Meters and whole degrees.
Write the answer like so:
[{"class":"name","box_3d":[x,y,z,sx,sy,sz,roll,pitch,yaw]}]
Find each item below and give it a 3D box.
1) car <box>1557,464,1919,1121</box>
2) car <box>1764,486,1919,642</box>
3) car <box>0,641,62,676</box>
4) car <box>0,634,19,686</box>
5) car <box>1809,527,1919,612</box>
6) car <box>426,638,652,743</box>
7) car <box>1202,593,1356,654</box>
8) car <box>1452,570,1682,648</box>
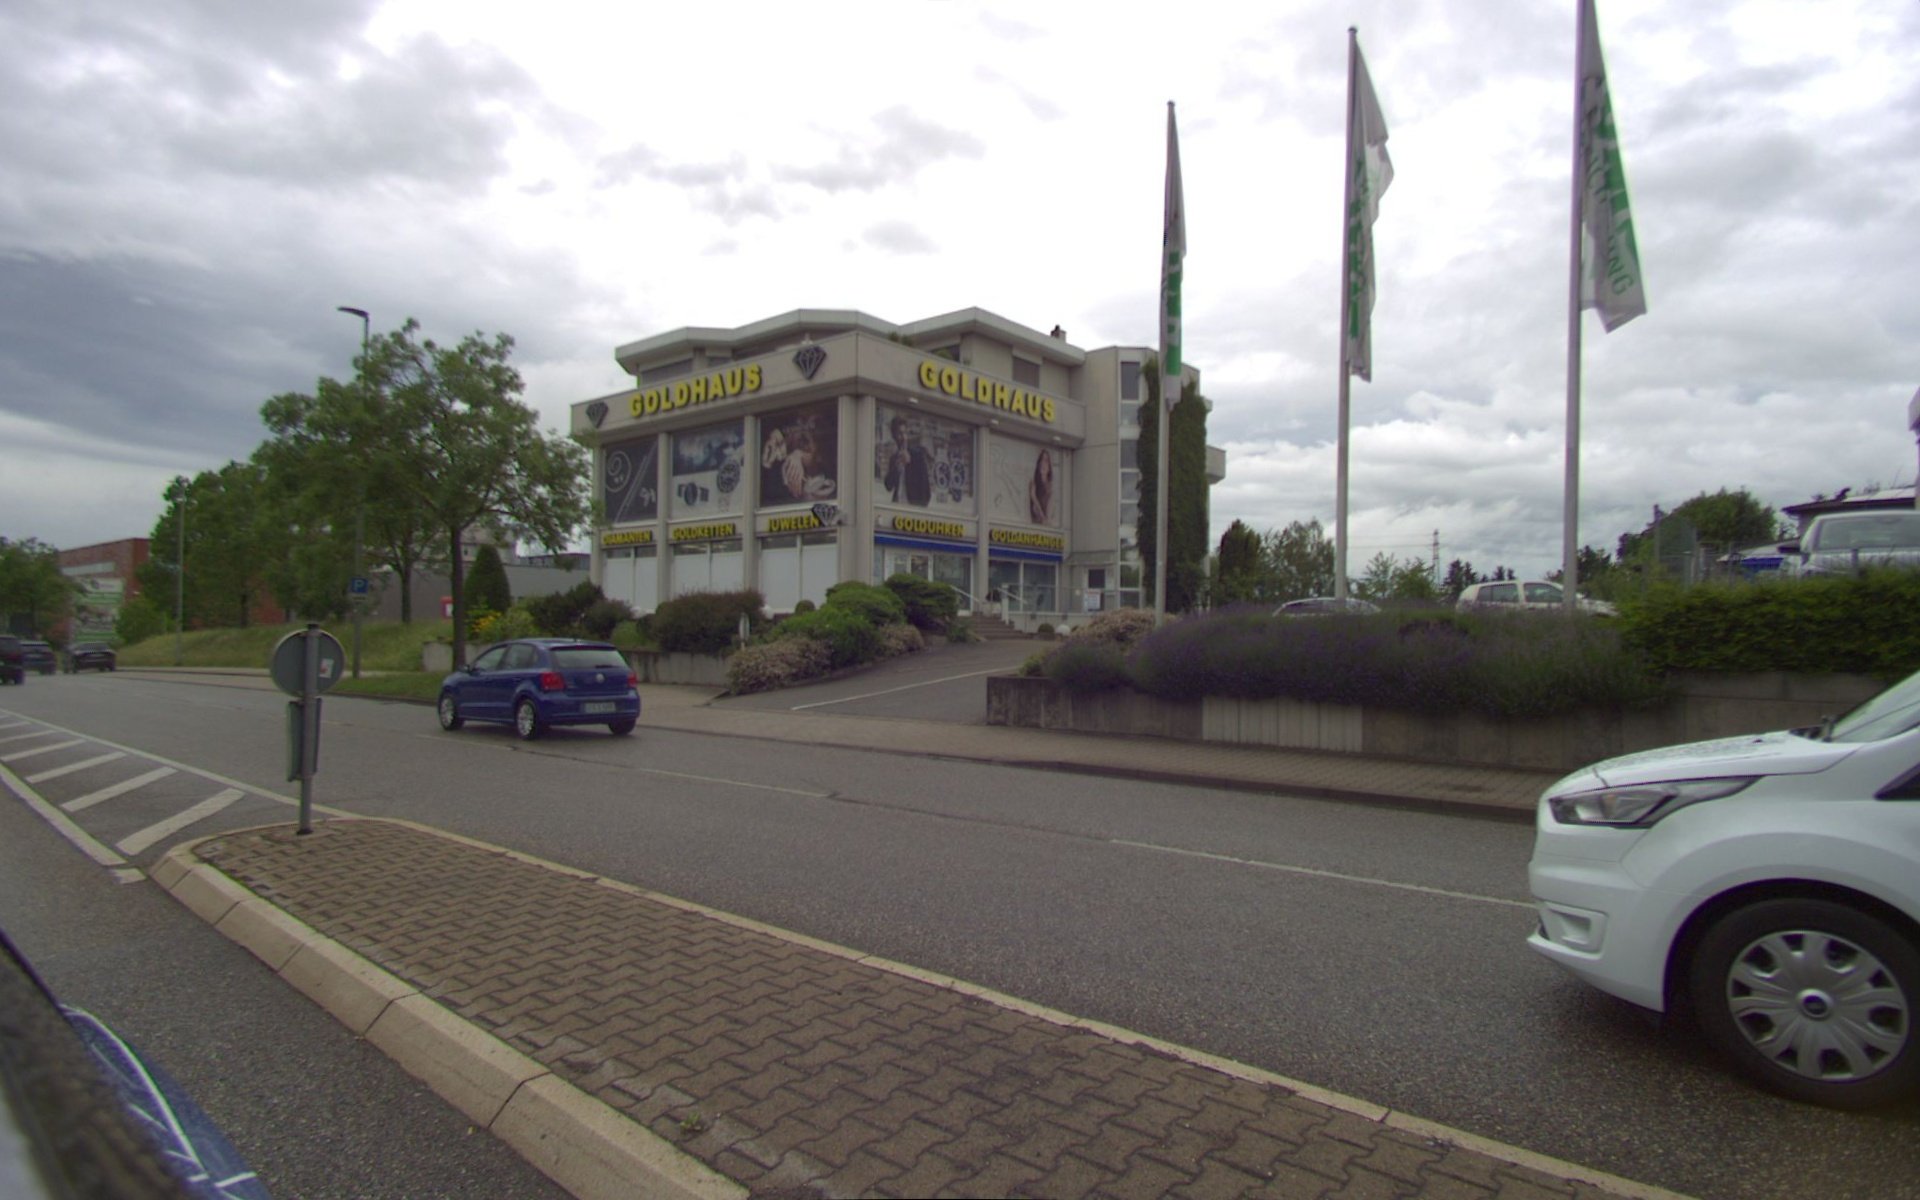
[{"class":"car","box_3d":[4.353,0.555,2.648,4.575,1.837,1.838,-1,-4,40]},{"class":"car","box_3d":[10.267,-0.310,11.257,1.737,1.494,3.794,-2,-2,34]},{"class":"car","box_3d":[-45.167,2.836,49.047,4.528,1.623,1.733,-2,-4,40]},{"class":"car","box_3d":[-32.779,1.959,33.401,4.140,1.690,1.740,-2,-4,36]},{"class":"car","box_3d":[18.591,-0.549,20.481,1.871,1.494,3.791,-2,-2,36]},{"class":"car","box_3d":[-6.479,1.308,15.417,3.762,1.392,1.617,-2,-4,40]},{"class":"car","box_3d":[8.643,0.665,27.792,1.842,1.524,4.015,0,-2,-22]},{"class":"car","box_3d":[12.985,0.268,21.799,4.001,1.524,1.656,-2,-4,42]}]
